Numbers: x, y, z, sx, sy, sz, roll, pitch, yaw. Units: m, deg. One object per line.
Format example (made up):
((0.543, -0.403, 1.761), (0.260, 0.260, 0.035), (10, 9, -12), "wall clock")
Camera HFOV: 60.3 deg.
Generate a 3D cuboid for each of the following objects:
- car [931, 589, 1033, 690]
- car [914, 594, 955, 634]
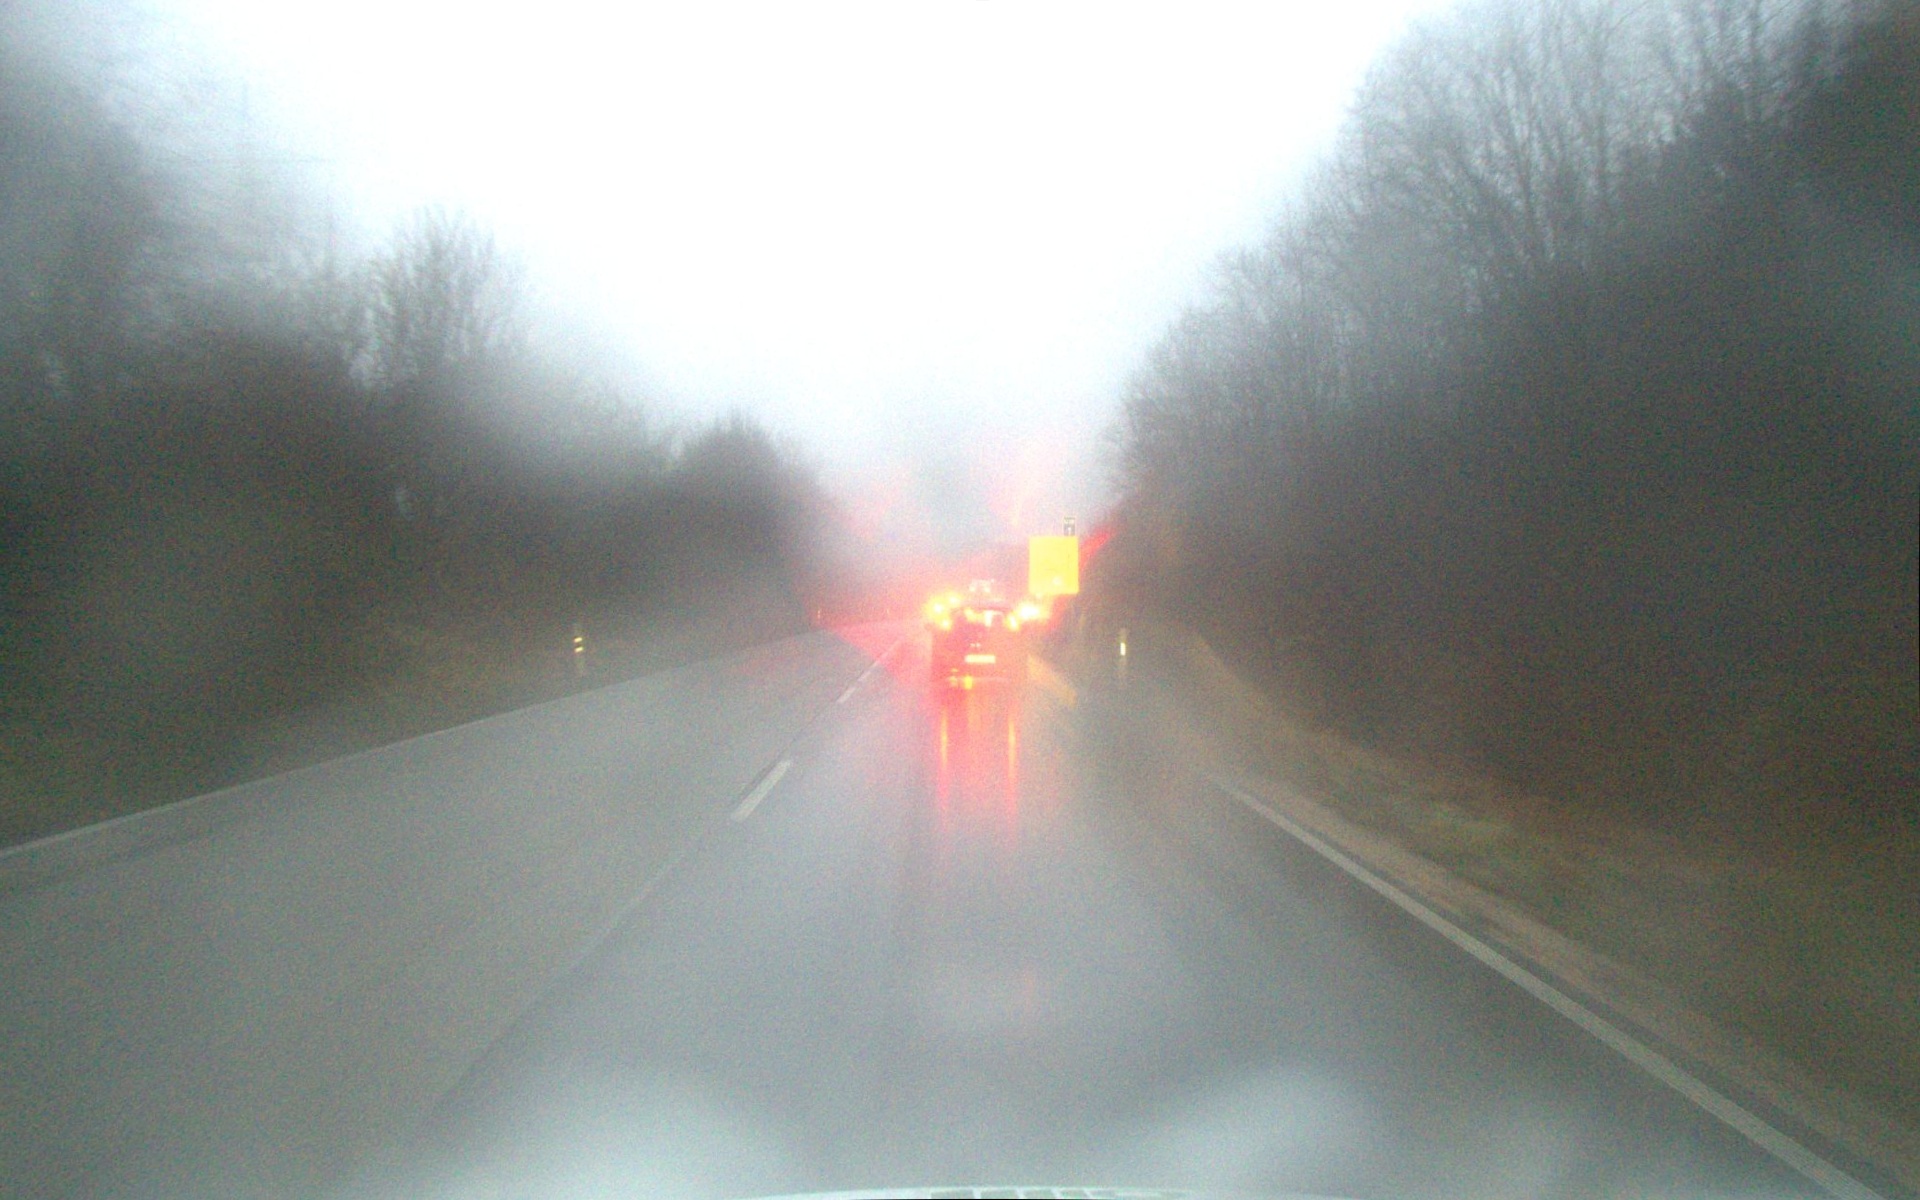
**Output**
((0.367, 0.659, 29.517), (1.692, 1.672, 4.000), (0, 0, 0), "car")
((-1.068, 0.596, 71.667), (1.692, 1.672, 4.000), (0, 0, 0), "car")
